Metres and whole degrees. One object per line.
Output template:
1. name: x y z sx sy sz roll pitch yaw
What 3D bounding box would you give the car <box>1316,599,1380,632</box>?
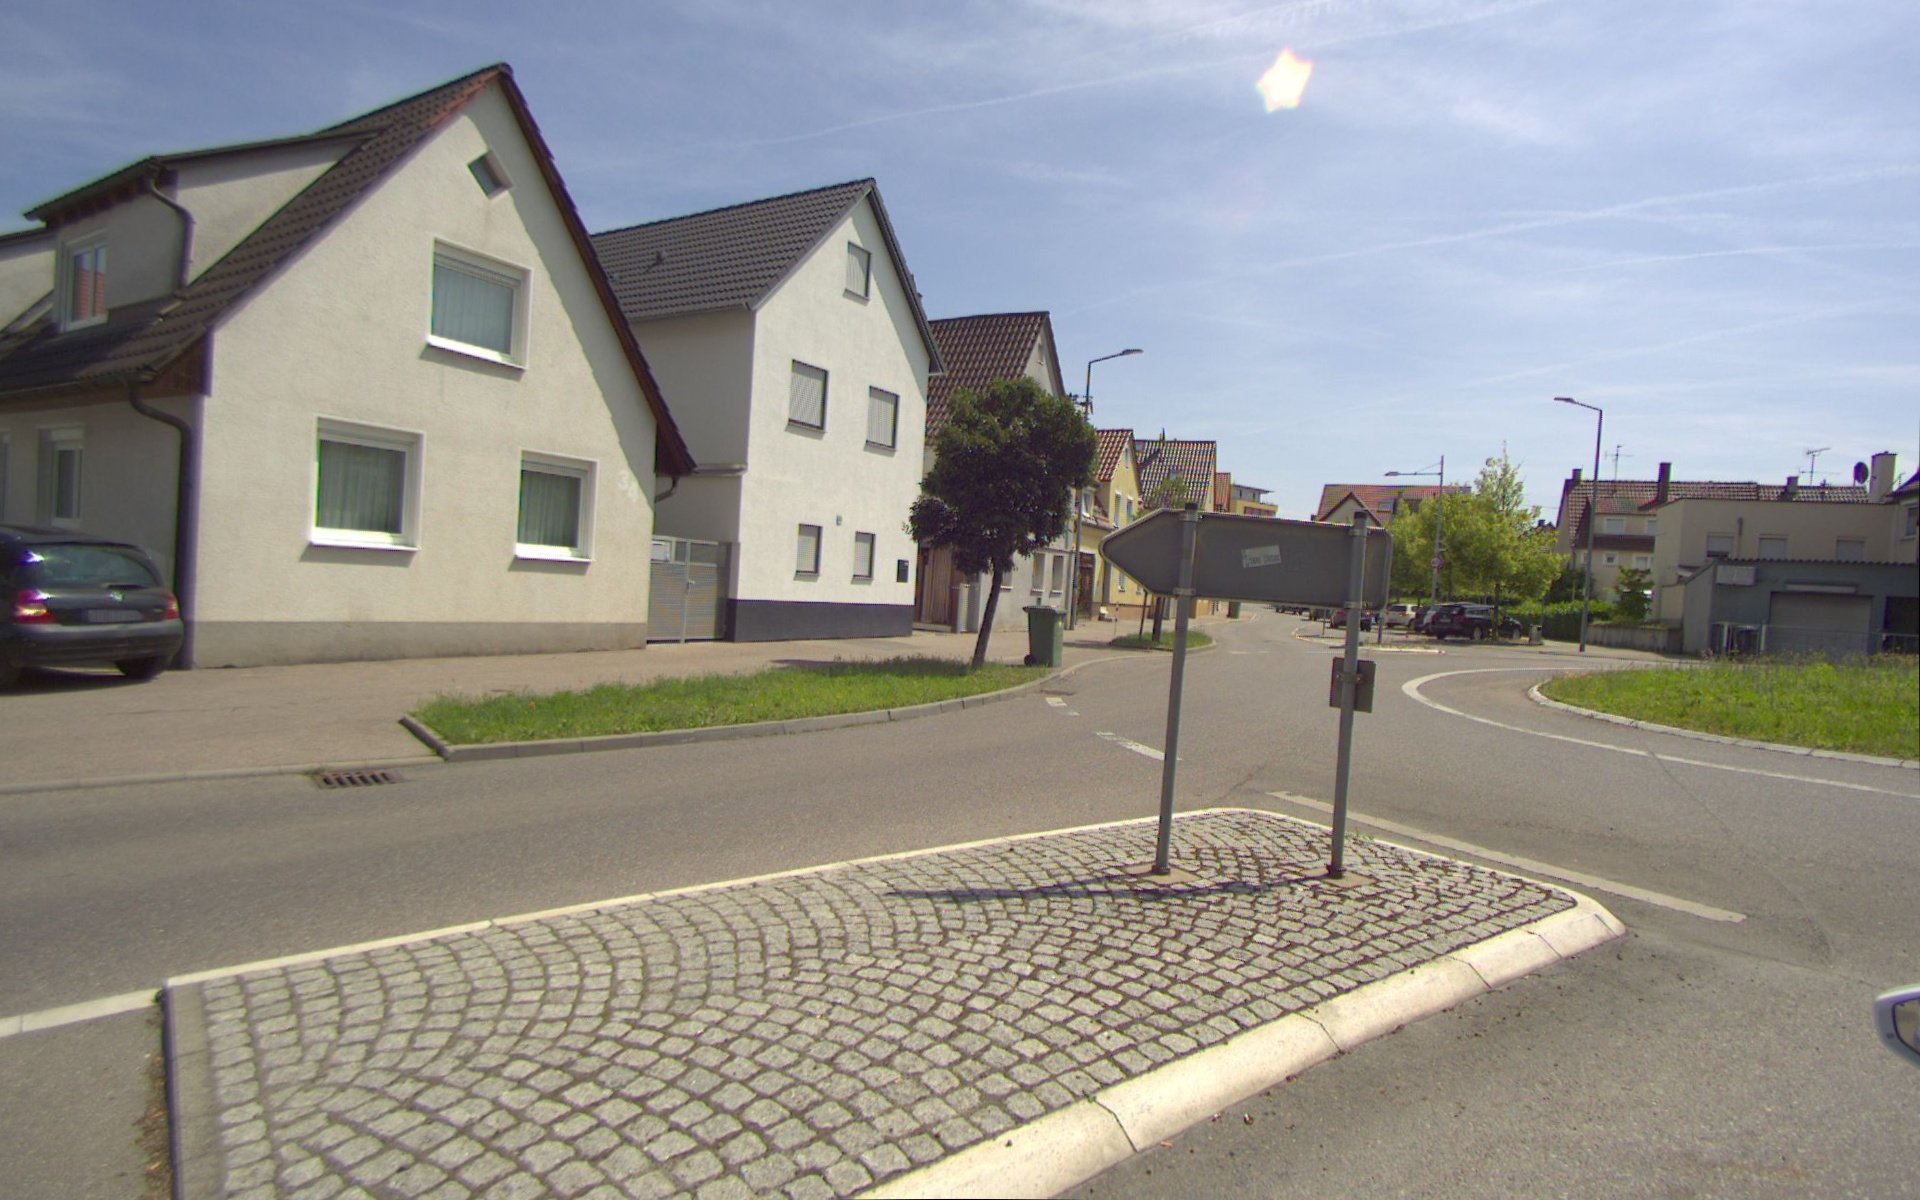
1. car: 19.660 0.761 51.070 1.840 1.409 4.217 3 1 4

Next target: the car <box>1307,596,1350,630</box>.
1. car: 24.509 0.848 66.935 2.075 2.040 4.002 4 1 12

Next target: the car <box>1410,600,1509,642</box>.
1. car: 22.934 0.970 46.156 3.940 1.639 1.809 3 1 -20

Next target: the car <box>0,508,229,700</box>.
1. car: -9.340 -0.118 9.448 3.770 1.460 1.779 6 3 9

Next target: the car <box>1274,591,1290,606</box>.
1. car: 48.731 -0.204 151.896 2.075 2.040 4.001 4 1 16

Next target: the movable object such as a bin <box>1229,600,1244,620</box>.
1. movable object such as a bin: 14.977 0.546 54.466 0.685 1.066 0.675 3 1 12

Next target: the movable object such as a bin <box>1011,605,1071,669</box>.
1. movable object such as a bin: 1.437 0.640 17.795 0.886 1.062 0.579 3 1 22

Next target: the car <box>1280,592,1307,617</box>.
1. car: 29.676 0.420 89.463 2.075 2.040 4.001 4 1 16

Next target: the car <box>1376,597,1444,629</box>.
1. car: 27.460 0.805 61.292 3.957 1.691 1.856 3 1 -33

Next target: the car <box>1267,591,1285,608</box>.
1. car: 40.657 -0.096 129.370 2.075 2.040 4.001 4 1 16
